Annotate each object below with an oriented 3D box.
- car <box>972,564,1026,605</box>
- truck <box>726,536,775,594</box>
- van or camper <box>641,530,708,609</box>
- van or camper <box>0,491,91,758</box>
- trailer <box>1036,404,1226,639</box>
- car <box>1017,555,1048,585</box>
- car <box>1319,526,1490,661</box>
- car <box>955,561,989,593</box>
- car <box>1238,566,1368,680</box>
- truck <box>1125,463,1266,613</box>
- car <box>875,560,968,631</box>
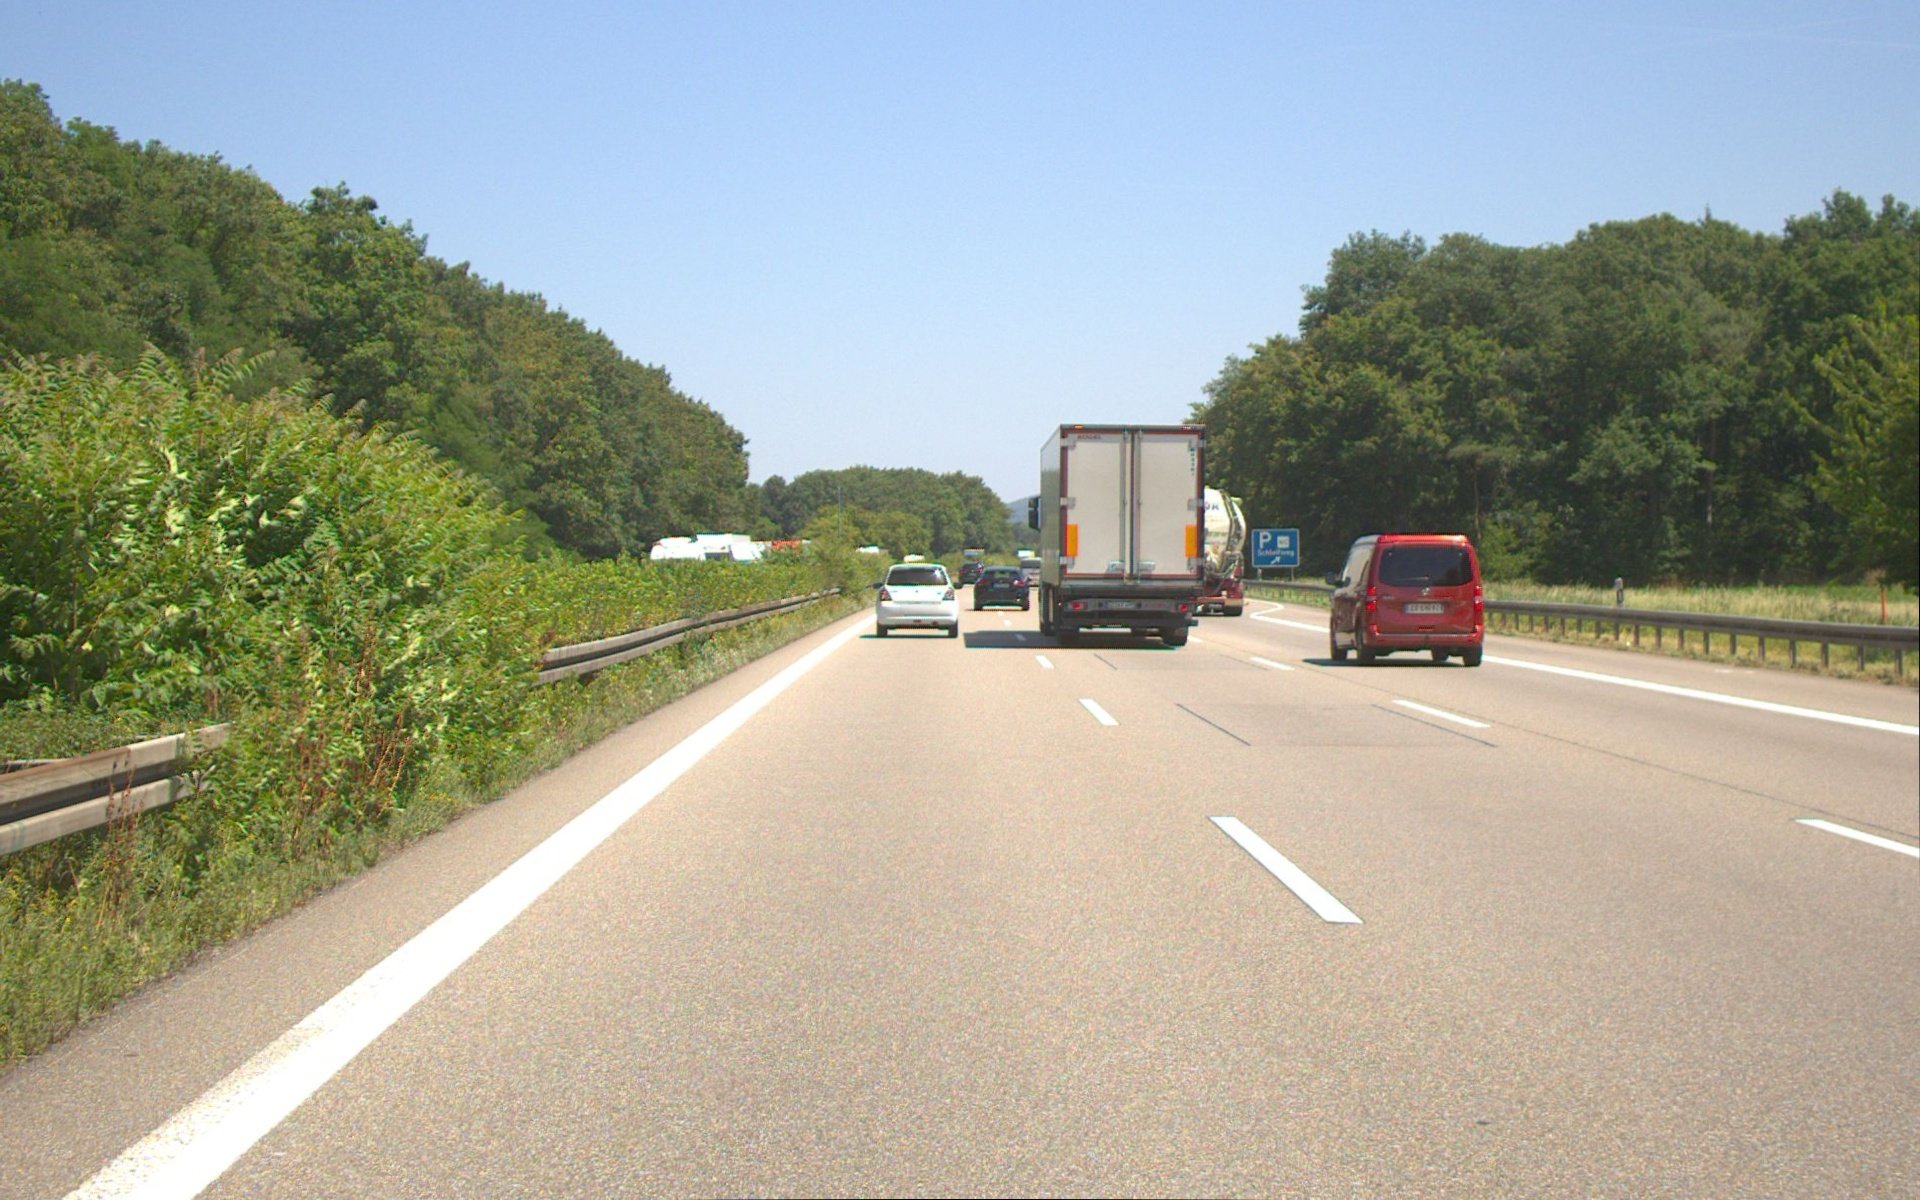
[{"bbox_3d":[1.254,-0.519,112.716,1.668,1.285,4.000,0,1,-1],"label":"car"},{"bbox_3d":[-12.454,-2.101,204.840,2.410,3.342,7.001,-3,1,-1],"label":"truck"},{"bbox_3d":[-10.588,-1.163,127.737,1.993,2.836,7.001,0,1,-1],"label":"van or camper"},{"bbox_3d":[-9.477,0.224,30.205,1.993,2.362,7.001,0,1,-1],"label":"van or camper"},{"bbox_3d":[3.167,-1.486,67.184,3.223,4.129,12.351,0,1,1],"label":"trailer"},{"bbox_3d":[4.230,-1.766,202.333,1.668,1.759,4.000,0,1,-1],"label":"car"},{"bbox_3d":[6.905,-0.133,53.929,1.855,1.996,5.522,1,1,-1],"label":"car"},{"bbox_3d":[0.780,-1.518,225.268,2.107,2.007,4.000,1,1,-1],"label":"car"},{"bbox_3d":[6.260,0.395,63.161,1.993,2.007,4.000,0,1,0],"label":"car"},{"bbox_3d":[7.104,-1.884,105.307,3.223,4.330,10.808,-1,1,-2],"label":"truck"},{"bbox_3d":[-0.811,-0.103,70.999,1.811,1.400,3.318,-1,1,-2],"label":"car"}]
